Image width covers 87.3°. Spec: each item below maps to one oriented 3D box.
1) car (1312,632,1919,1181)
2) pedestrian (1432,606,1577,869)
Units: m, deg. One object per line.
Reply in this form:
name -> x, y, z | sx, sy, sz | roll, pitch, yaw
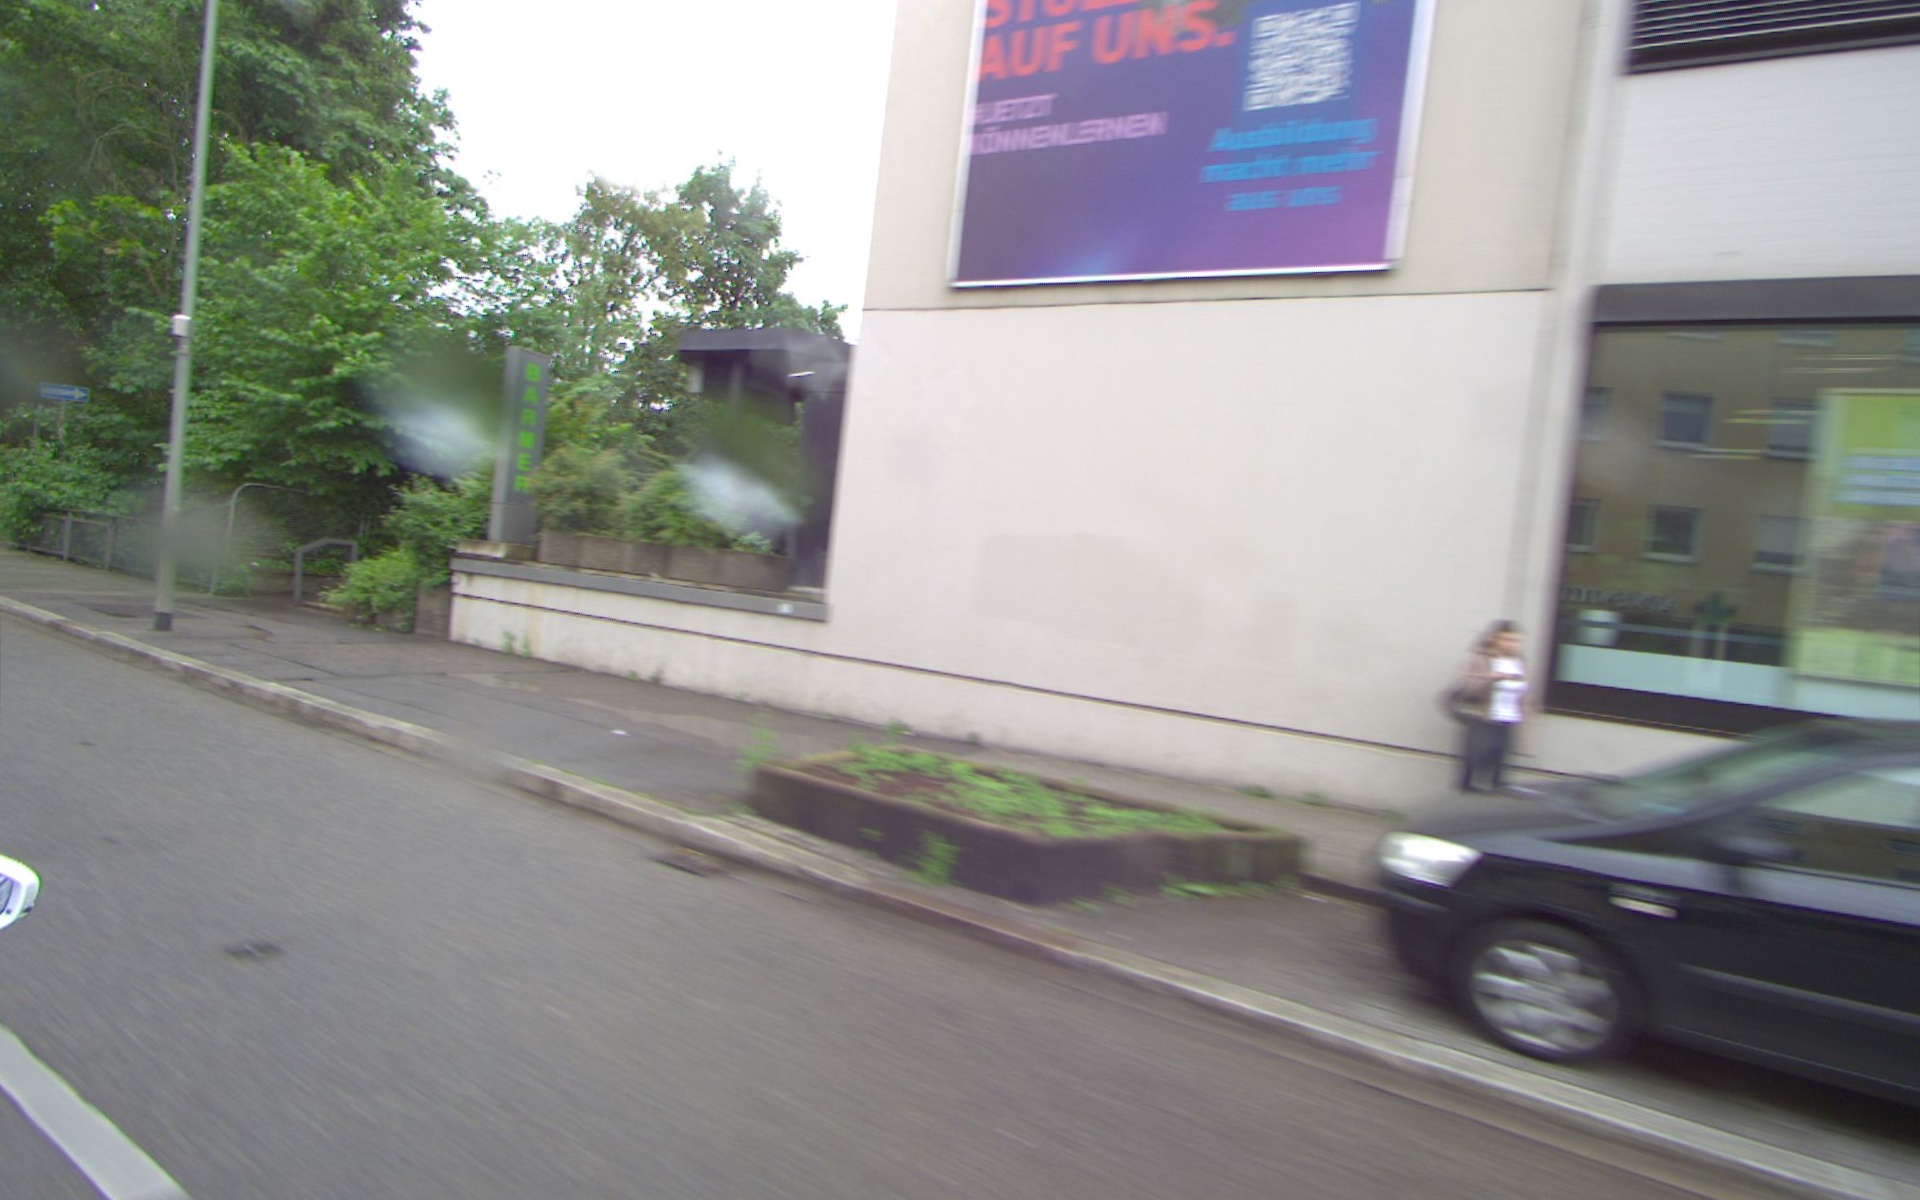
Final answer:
car -> 3.588, 1.131, 4.004 | 3.741, 1.579, 1.703 | 7, 2, 30
pedestrian -> 3.793, 0.921, 7.075 | 0.679, 1.683, 0.598 | 7, 5, 25
